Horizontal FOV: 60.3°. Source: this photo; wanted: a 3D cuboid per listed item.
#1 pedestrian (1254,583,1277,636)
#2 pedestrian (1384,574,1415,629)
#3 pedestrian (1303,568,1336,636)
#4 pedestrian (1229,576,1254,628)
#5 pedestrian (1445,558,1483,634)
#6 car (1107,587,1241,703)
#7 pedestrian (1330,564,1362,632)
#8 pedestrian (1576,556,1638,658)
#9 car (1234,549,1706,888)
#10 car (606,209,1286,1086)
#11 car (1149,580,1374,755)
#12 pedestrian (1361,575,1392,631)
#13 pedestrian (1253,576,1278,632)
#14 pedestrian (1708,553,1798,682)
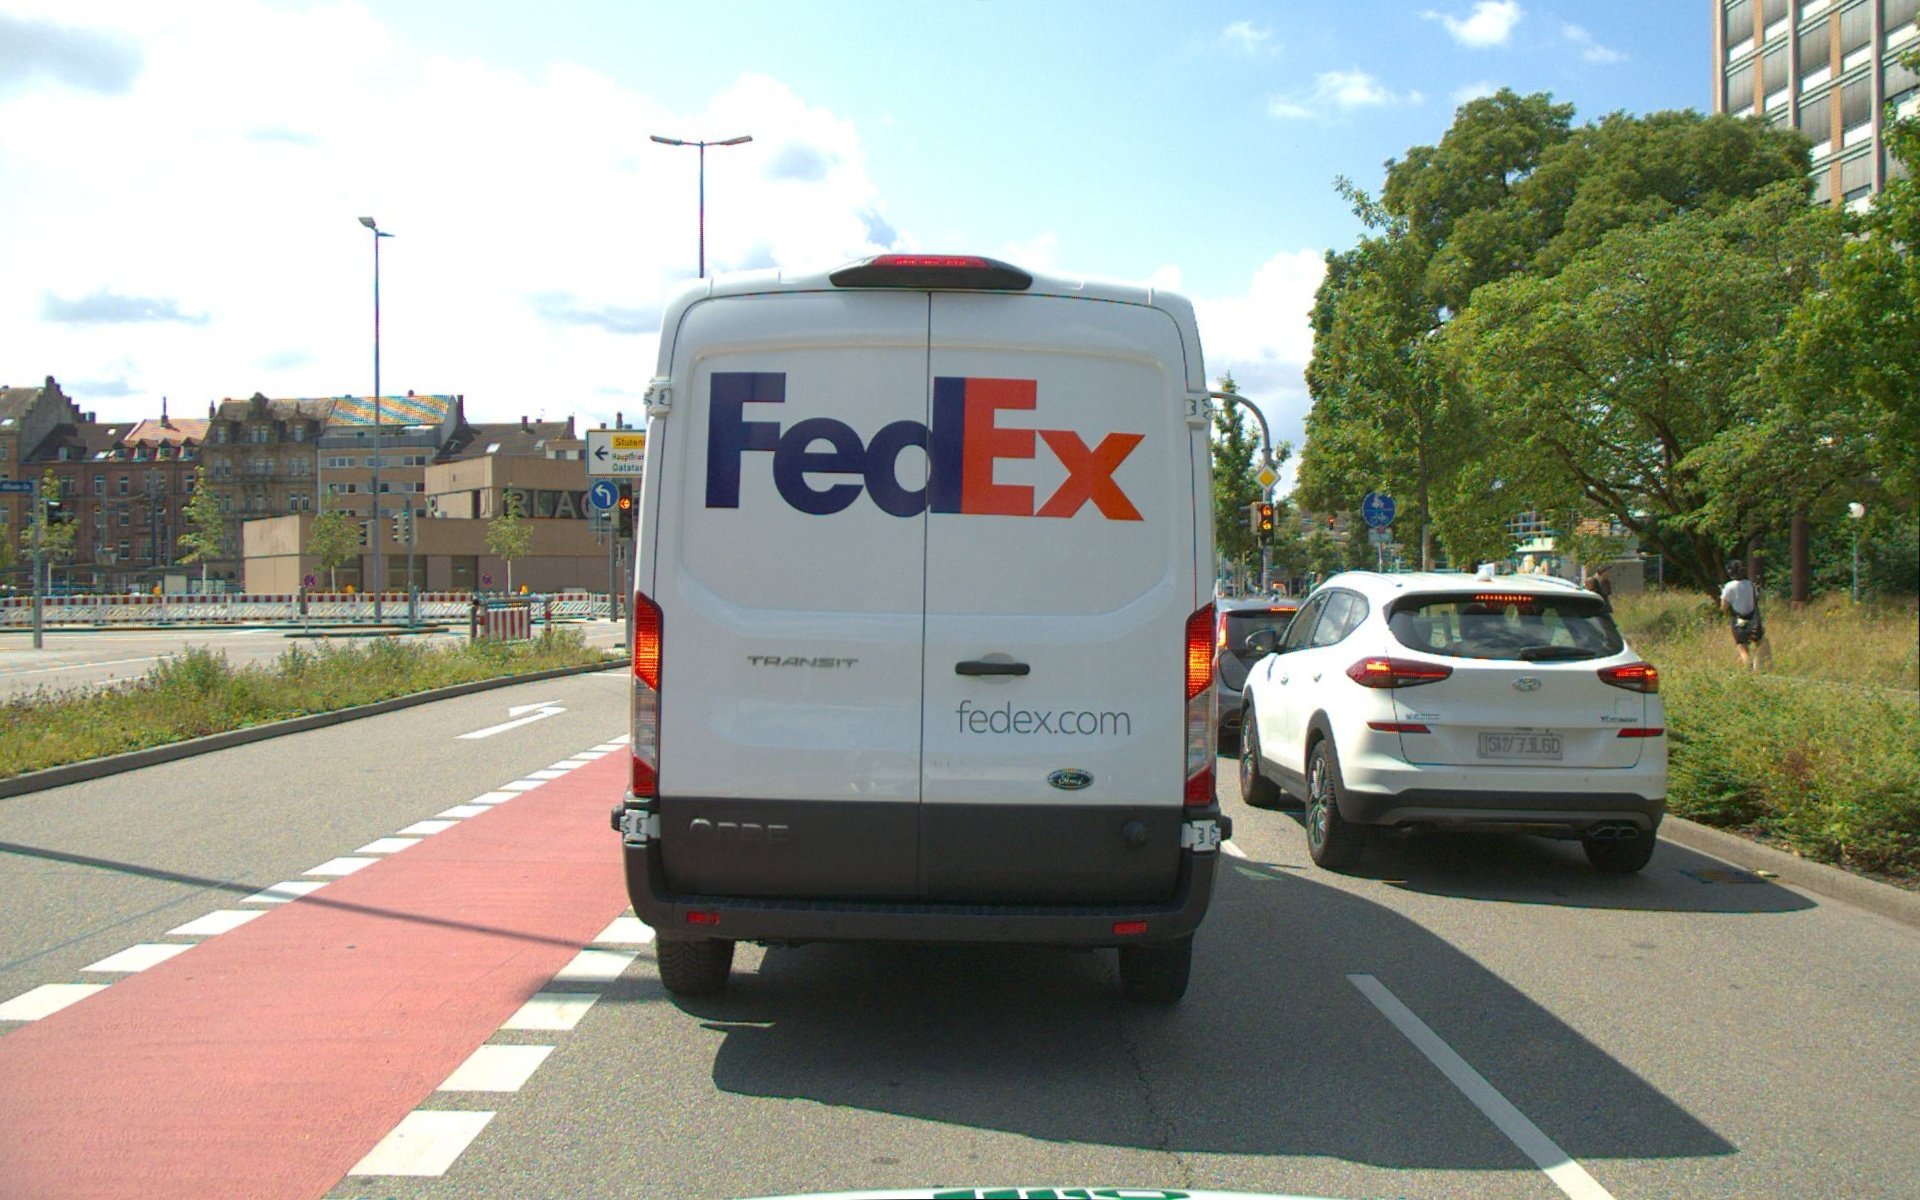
[{"bbox_3d":[10.932,0.347,59.201,0.742,1.882,0.817,0,0,14],"label":"pedestrian"},{"bbox_3d":[14.999,0.046,56.491,0.745,1.882,0.814,0,0,-9],"label":"pedestrian"},{"bbox_3d":[10.064,0.055,46.273,0.743,1.882,0.816,0,0,1],"label":"pedestrian"},{"bbox_3d":[10.213,0.070,60.090,0.796,1.882,0.761,0,0,2],"label":"pedestrian"},{"bbox_3d":[12.196,-0.097,40.023,0.742,1.820,0.817,0,0,7],"label":"pedestrian"},{"bbox_3d":[2.943,0.574,23.299,1.468,1.489,3.474,0,1,1],"label":"car"},{"bbox_3d":[10.904,-0.056,46.766,0.743,1.882,0.816,0,0,3],"label":"pedestrian"},{"bbox_3d":[10.914,0.115,27.917,0.743,1.684,0.816,0,0,3],"label":"pedestrian"},{"bbox_3d":[2.913,0.578,10.372,1.777,1.708,3.974,0,1,1],"label":"car"},{"bbox_3d":[-0.013,0.119,7.191,2.030,2.626,4.428,0,1,1],"label":"car"},{"bbox_3d":[2.945,0.591,16.848,1.656,1.576,3.721,0,1,1],"label":"car"},{"bbox_3d":[14.158,0.095,56.238,0.745,1.882,0.814,-1,0,-11],"label":"pedestrian"},{"bbox_3d":[10.493,0.129,56.838,0.743,1.882,0.816,0,0,18],"label":"pedestrian"},{"bbox_3d":[9.958,0.210,20.797,0.743,1.584,0.816,0,0,1],"label":"pedestrian"}]
